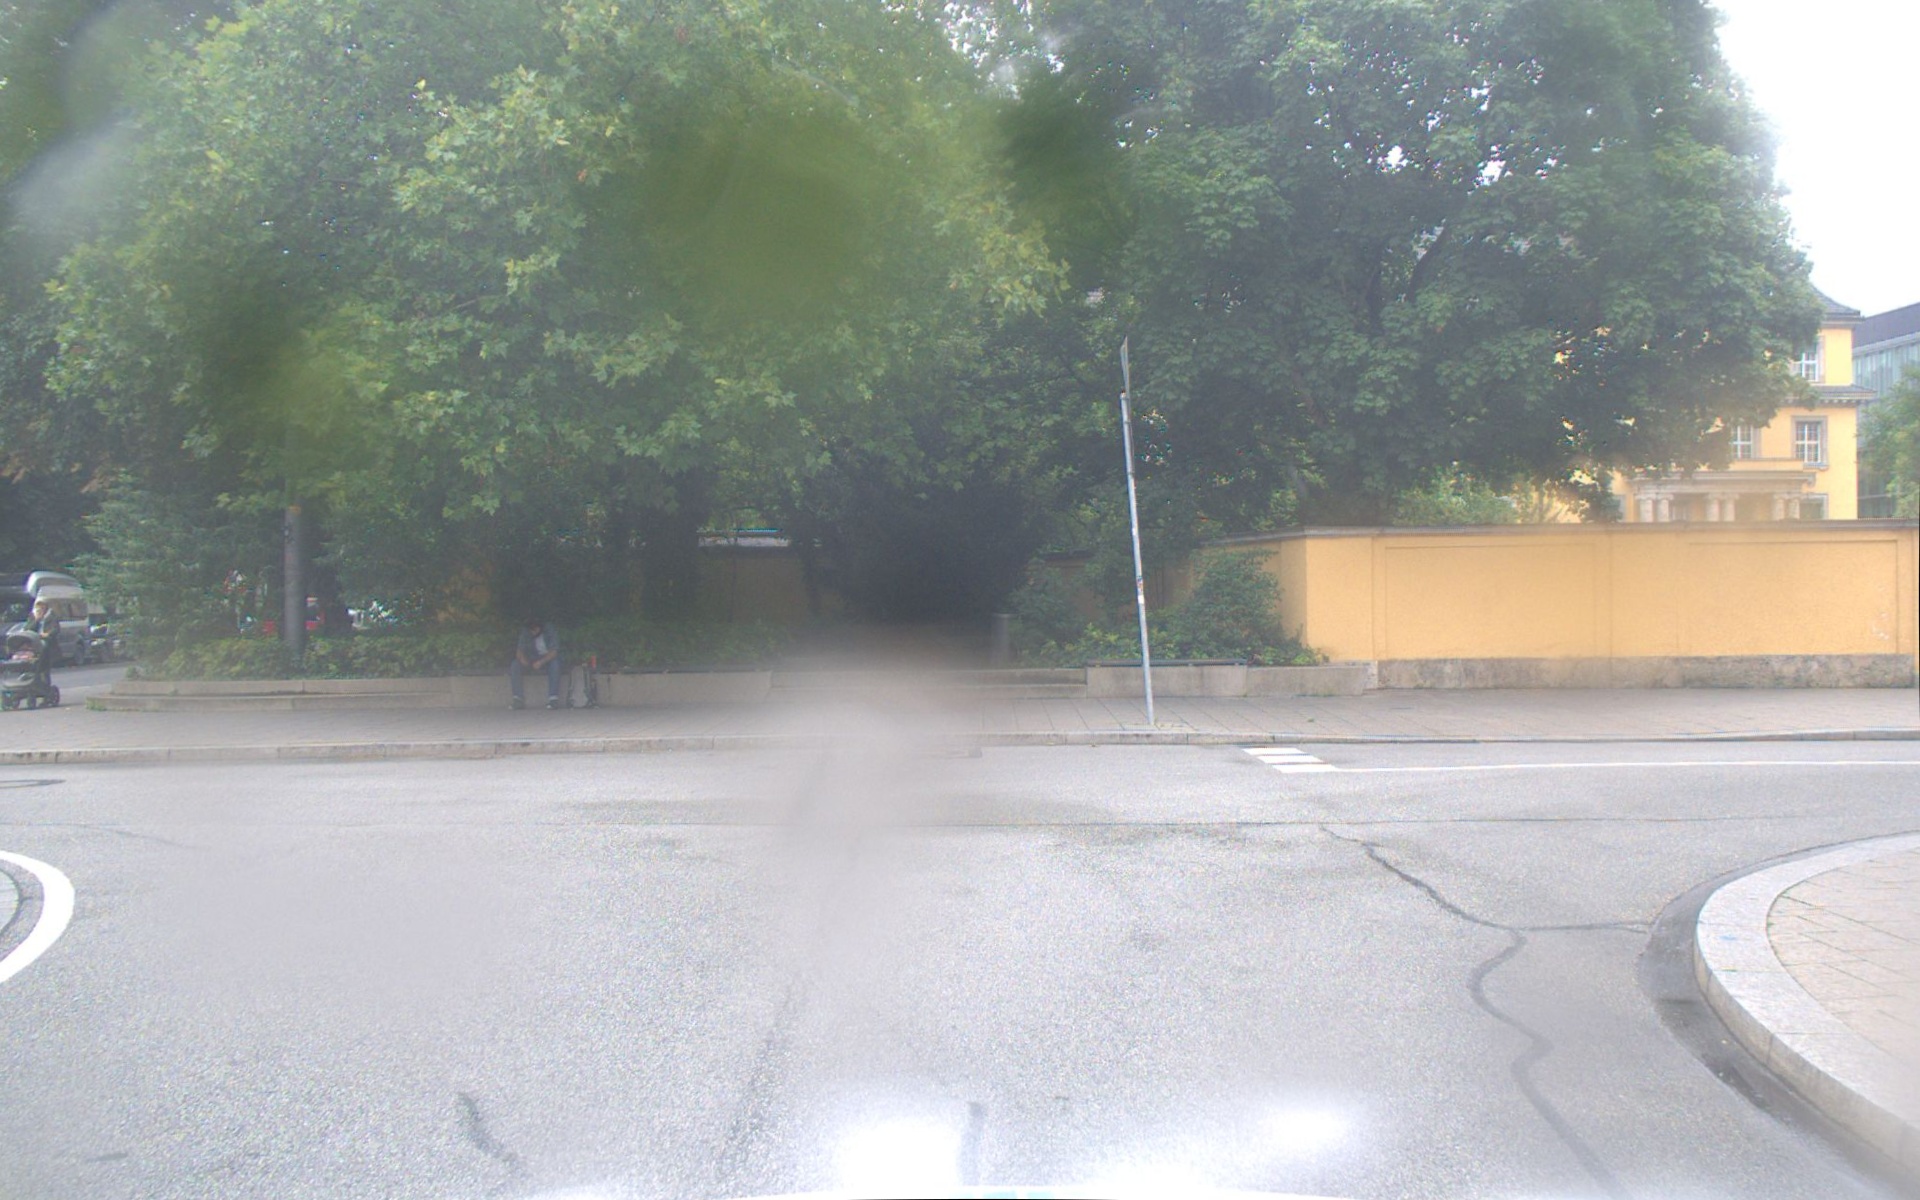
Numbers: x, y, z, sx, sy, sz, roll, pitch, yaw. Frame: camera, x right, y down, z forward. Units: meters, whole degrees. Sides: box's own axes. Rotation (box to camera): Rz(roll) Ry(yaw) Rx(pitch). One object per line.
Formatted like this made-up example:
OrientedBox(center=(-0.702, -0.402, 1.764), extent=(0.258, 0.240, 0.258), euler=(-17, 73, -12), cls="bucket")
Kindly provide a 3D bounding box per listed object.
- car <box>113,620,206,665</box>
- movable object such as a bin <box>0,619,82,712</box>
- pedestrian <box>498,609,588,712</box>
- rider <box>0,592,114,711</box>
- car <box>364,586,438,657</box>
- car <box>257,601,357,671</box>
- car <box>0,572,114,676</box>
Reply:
OrientedBox(center=(-29.820, 1.553, 61.731), extent=(1.859, 1.565, 4.068), euler=(-1, 0, -7), cls="car")
OrientedBox(center=(-13.762, 0.965, 24.278), extent=(1.055, 1.289, 1.087), euler=(-4, 0, 6), cls="movable object such as a bin")
OrientedBox(center=(-5.076, 0.723, 20.185), extent=(0.794, 1.209, 0.920), euler=(-1, 0, 5), cls="pedestrian")
OrientedBox(center=(-13.694, 0.762, 25.026), extent=(1.059, 1.696, 1.140), euler=(-4, 0, 6), cls="rider")
OrientedBox(center=(-21.843, 0.820, 64.856), extent=(2.005, 2.603, 5.234), euler=(-1, 0, -11), cls="car")
OrientedBox(center=(-19.405, 1.024, 49.301), extent=(2.005, 1.956, 4.433), euler=(-1, 0, -12), cls="car")
OrientedBox(center=(-28.544, 0.716, 50.834), extent=(2.290, 2.973, 6.570), euler=(-1, 0, -6), cls="car")
